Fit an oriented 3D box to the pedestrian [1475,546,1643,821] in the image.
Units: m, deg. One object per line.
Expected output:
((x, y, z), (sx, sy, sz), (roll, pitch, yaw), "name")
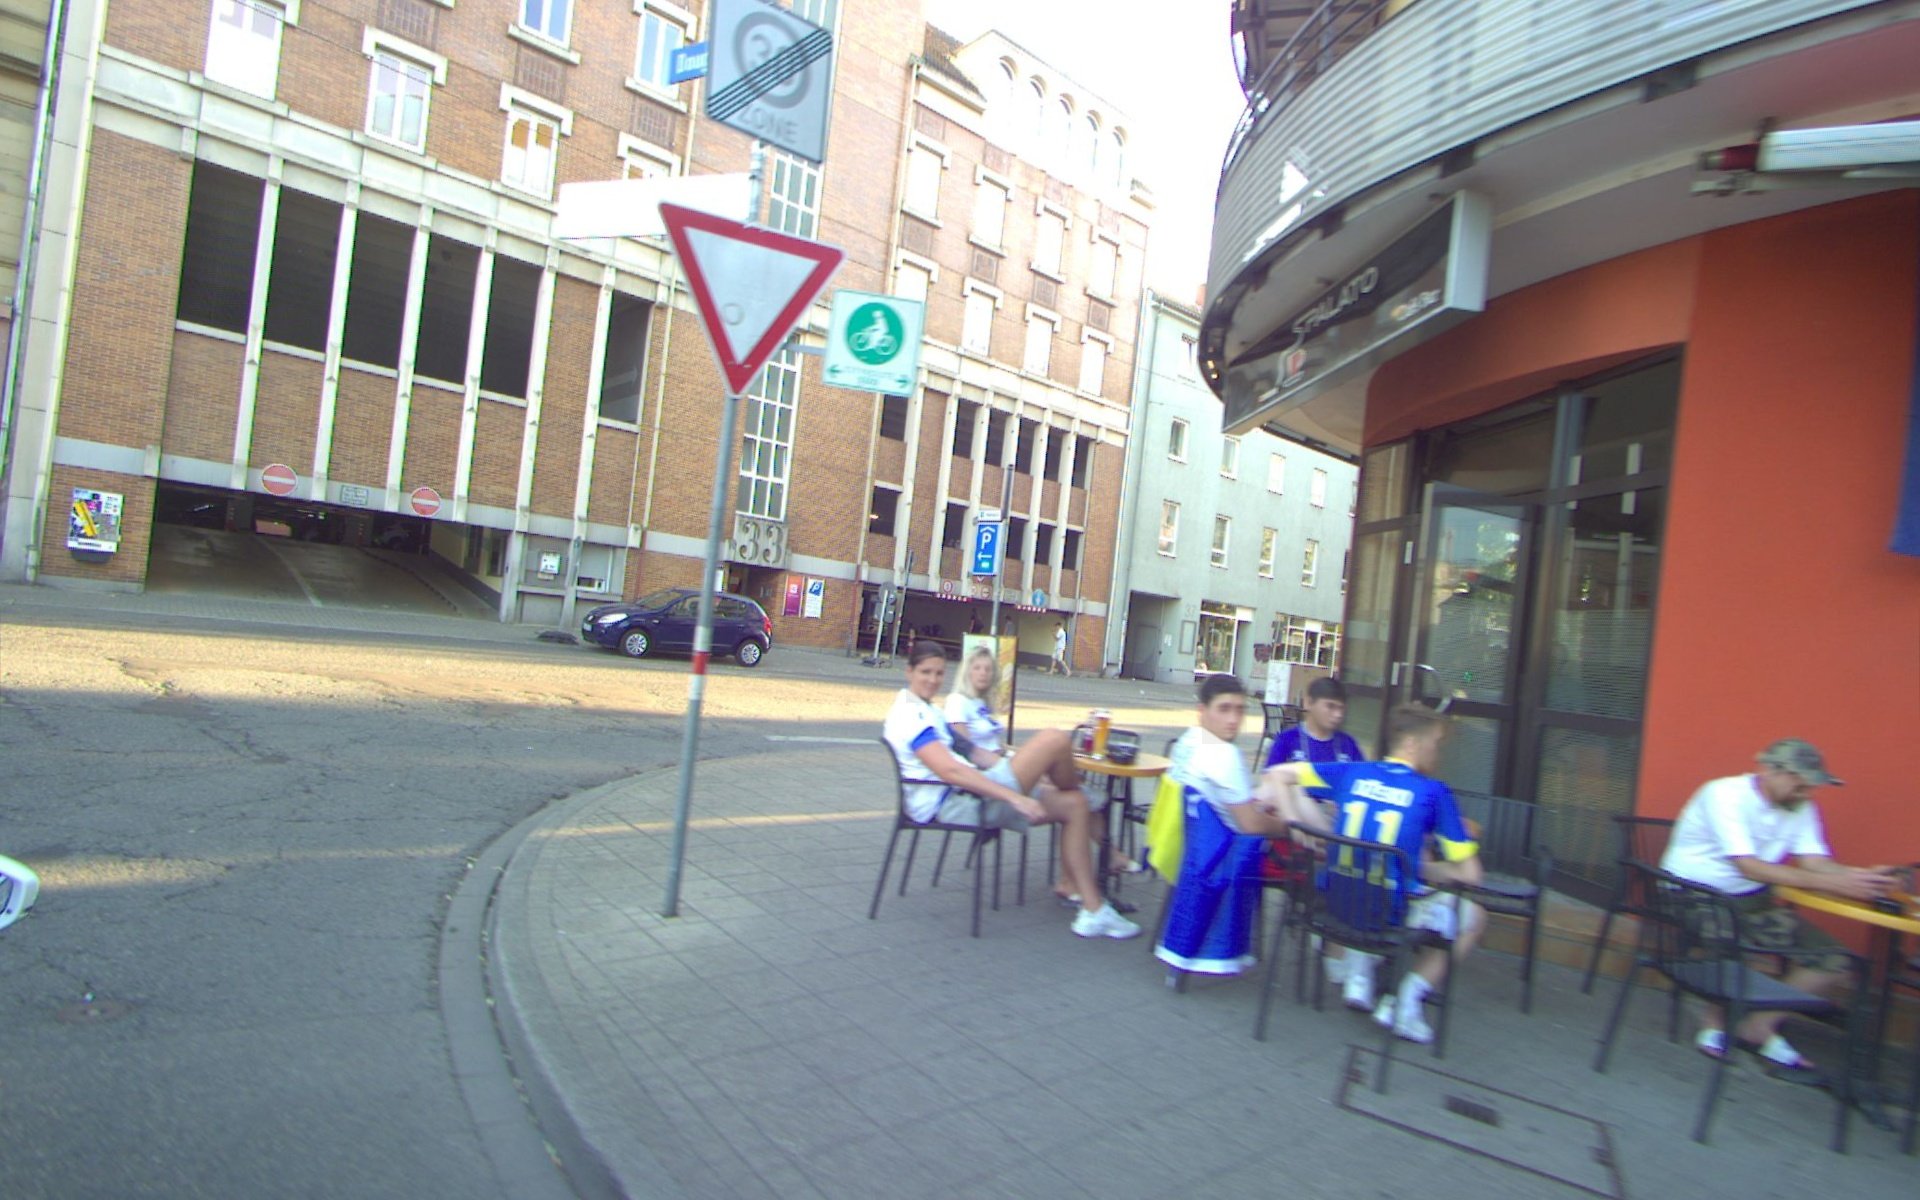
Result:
((4.830, 0.648, 8.106), (0.850, 2.037, 0.811), (6, -1, 42), "pedestrian")

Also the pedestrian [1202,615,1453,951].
((1.886, 0.908, 5.258), (0.838, 1.553, 0.714), (7, -1, -8), "pedestrian")

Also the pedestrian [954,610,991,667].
((0.432, 1.326, 34.875), (0.881, 1.855, 0.636), (6, 0, 28), "pedestrian")

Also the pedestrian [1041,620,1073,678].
((3.236, 1.632, 33.503), (0.668, 1.850, 0.674), (6, 0, 28), "pedestrian")

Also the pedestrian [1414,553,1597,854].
((4.085, 0.741, 7.525), (0.843, 2.038, 0.907), (6, 0, 41), "pedestrian")

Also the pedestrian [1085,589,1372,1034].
((1.096, 0.794, 4.110), (0.680, 1.555, 0.710), (10, 3, 44), "pedestrian")

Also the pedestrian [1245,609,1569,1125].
((1.610, 0.850, 3.649), (0.838, 1.557, 0.712), (6, 4, 28), "pedestrian")

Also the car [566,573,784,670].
((-6.111, 0.484, 21.738), (3.970, 1.538, 1.979), (8, -1, -39), "car")

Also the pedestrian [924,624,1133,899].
((0.356, 0.819, 5.393), (0.949, 1.297, 0.686), (5, 0, 2), "pedestrian")

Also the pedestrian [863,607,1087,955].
((0.070, 0.773, 4.643), (0.823, 1.399, 0.771), (5, 0, 1), "pedestrian")

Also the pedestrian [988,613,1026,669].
((1.594, 1.401, 34.159), (0.881, 1.771, 0.674), (6, 0, 28), "pedestrian")

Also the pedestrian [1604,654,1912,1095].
((3.249, 1.055, 4.110), (0.745, 1.554, 0.643), (8, -1, -31), "pedestrian")
